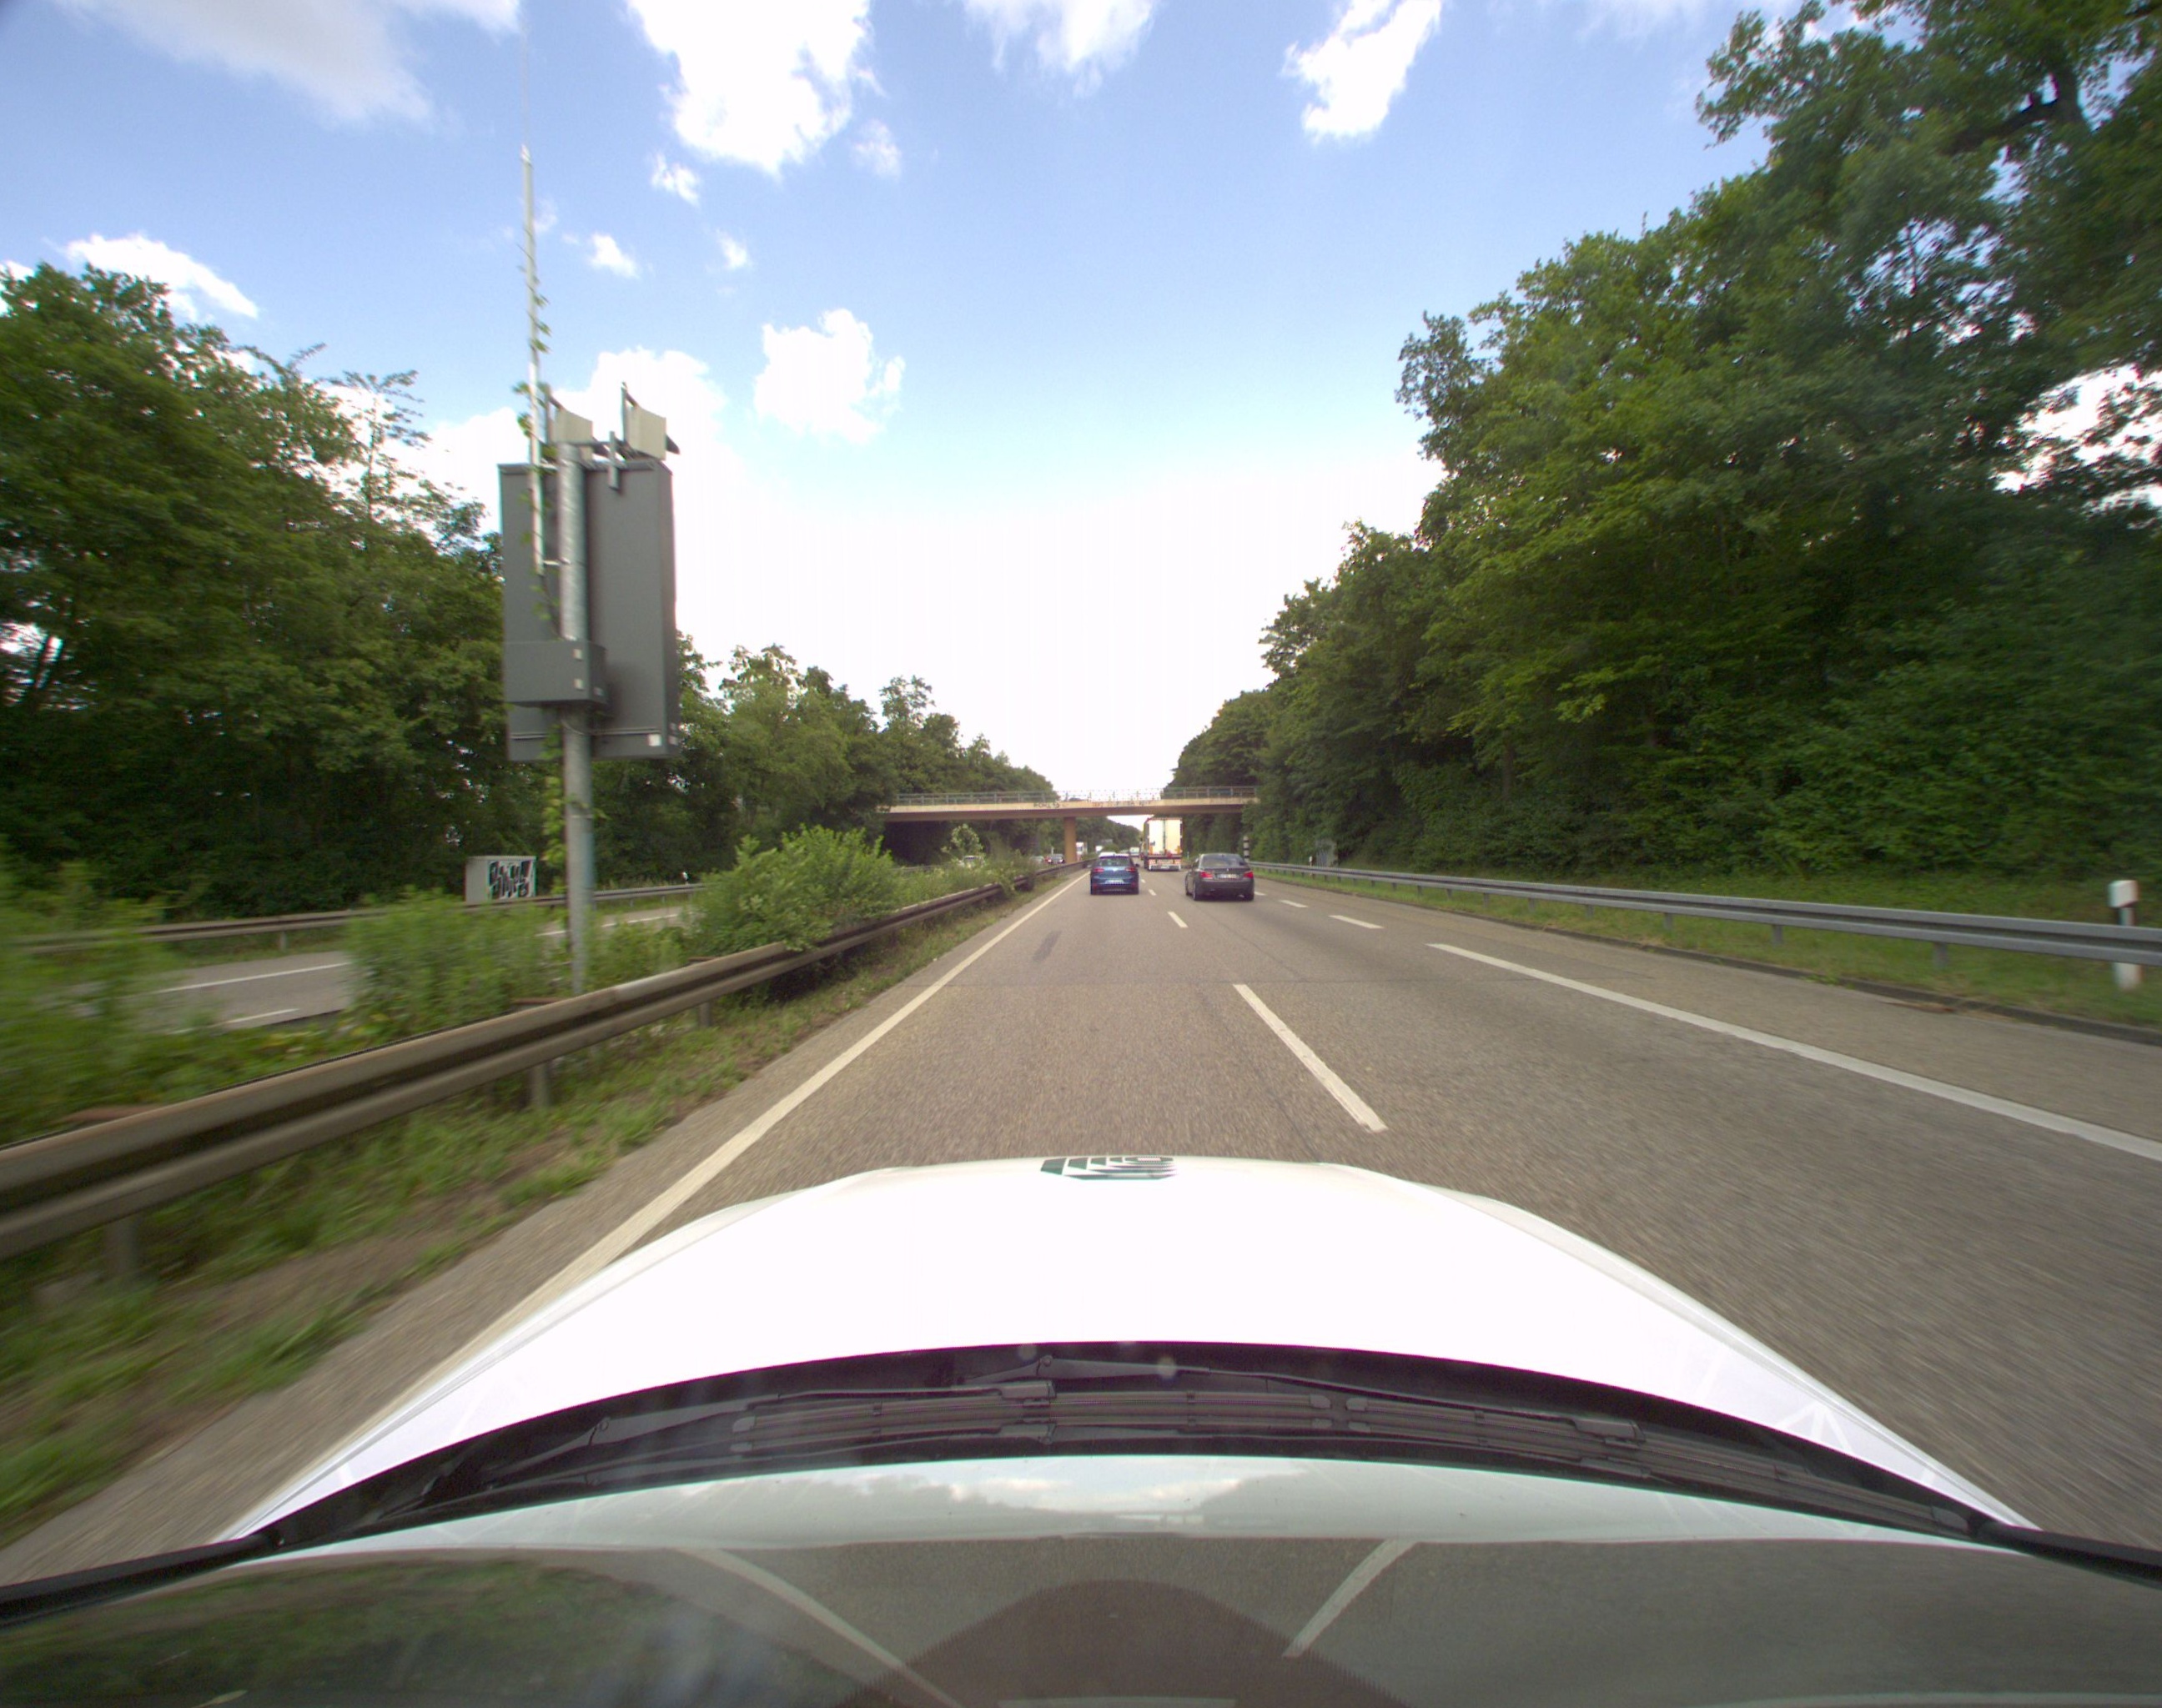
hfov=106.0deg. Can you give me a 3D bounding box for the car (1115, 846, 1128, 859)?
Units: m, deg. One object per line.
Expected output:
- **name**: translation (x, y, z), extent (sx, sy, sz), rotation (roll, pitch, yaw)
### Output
- **car**: translation (6.503, -0.191, 130.441), extent (1.946, 2.013, 4.004), rotation (-2, 0, 3)

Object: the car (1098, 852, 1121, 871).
- **car**: translation (2.308, 0.567, 65.137), extent (1.658, 1.500, 4.157), rotation (-1, 0, 4)

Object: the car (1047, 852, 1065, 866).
- **car**: translation (-3.115, 0.635, 102.310), extent (1.858, 1.589, 4.568), rotation (-2, 0, 2)

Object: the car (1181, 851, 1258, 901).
- **car**: translation (4.334, 0.647, 26.242), extent (1.768, 1.475, 4.881), rotation (0, 0, 1)

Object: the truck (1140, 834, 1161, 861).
- **truck**: translation (11.792, -1.071, 139.358), extent (3.219, 4.386, 12.979), rotation (-1, -1, 3)

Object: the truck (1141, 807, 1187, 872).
- **truck**: translation (6.464, -1.078, 65.163), extent (3.227, 4.716, 11.020), rotation (-2, 0, 4)

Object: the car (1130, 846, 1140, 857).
- **car**: translation (11.693, -0.492, 177.379), extent (1.986, 2.255, 4.444), rotation (-2, 0, 2)

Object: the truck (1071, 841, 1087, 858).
- **truck**: translation (-0.505, -1.077, 192.217), extent (3.026, 3.986, 6.757), rotation (-2, 0, 4)

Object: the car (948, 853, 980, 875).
- **car**: translation (-9.815, 0.826, 68.640), extent (1.779, 1.738, 4.882), rotation (-2, 0, 2)

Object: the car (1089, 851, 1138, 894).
- **car**: translation (1.263, 0.648, 30.226), extent (1.698, 1.470, 4.004), rotation (0, 0, 4)
